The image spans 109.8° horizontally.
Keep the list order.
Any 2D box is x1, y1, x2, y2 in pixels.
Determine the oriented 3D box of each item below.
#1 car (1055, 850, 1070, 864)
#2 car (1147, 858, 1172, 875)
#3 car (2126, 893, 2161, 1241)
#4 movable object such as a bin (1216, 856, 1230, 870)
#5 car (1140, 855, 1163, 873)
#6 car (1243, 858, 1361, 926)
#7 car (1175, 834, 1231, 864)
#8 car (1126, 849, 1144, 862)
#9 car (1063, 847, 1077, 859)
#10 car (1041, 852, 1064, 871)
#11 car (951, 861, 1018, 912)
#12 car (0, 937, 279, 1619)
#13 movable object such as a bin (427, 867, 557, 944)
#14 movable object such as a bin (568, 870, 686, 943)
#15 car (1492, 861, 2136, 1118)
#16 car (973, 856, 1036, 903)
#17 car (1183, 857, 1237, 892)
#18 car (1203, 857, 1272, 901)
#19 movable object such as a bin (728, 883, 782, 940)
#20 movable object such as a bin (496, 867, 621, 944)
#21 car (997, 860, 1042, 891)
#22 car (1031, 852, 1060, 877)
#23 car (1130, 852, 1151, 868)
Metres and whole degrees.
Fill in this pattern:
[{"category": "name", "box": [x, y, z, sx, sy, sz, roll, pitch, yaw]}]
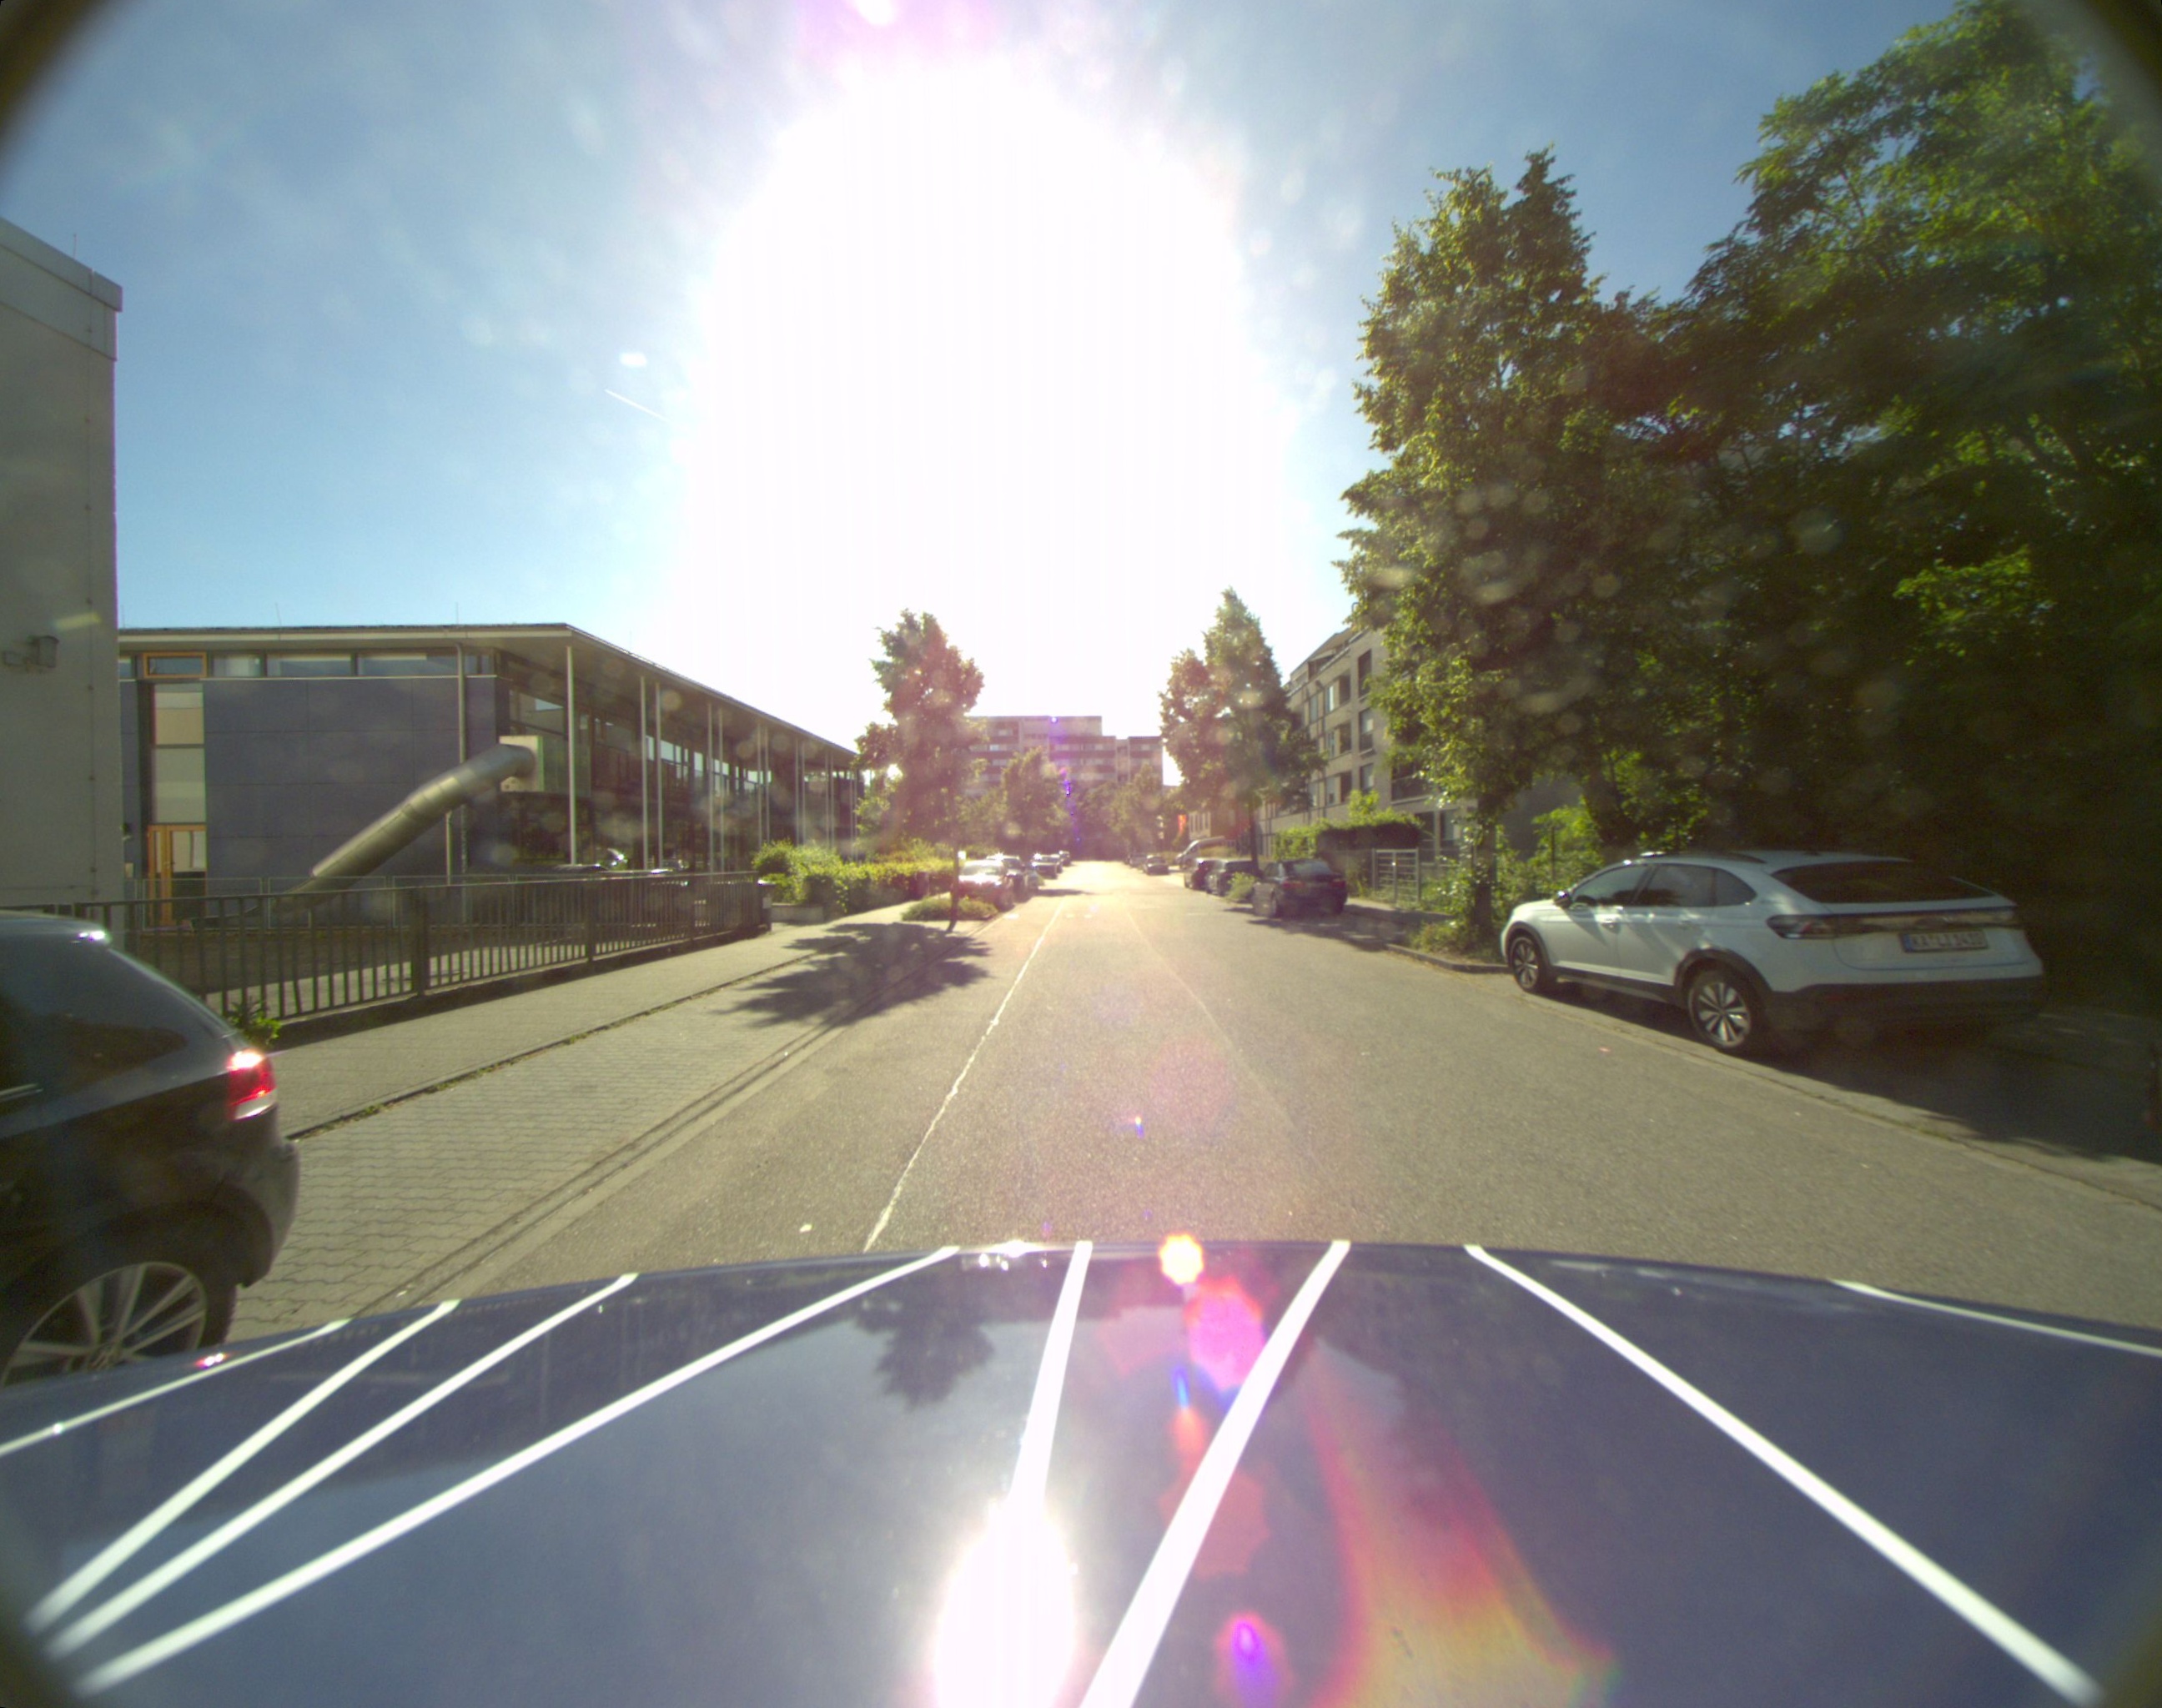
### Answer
[{"category": "car", "box": [-2.142, 0.329, 89.284, 1.644, 1.458, 3.702, 2, 2, 0]}, {"category": "car", "box": [6.093, 0.972, 59.468, 1.631, 1.240, 3.563, -2, 0, 1]}, {"category": "car", "box": [5.449, 0.876, 1.546, 1.722, 1.465, 3.545, -3, 0, -1]}, {"category": "movable object such as a bin", "box": [10.663, 0.685, 56.969, 0.862, 1.032, 0.677, -4, 1, -2]}, {"category": "car", "box": [6.051, 0.838, 65.383, 1.631, 1.515, 3.562, 0, 0, 0]}, {"category": "car", "box": [5.710, 0.922, 20.222, 1.845, 1.465, 4.359, -3, 0, 1]}, {"category": "car", "box": [12.140, -0.467, 75.826, 5.153, 2.886, 2.013, -1, 1, -3]}, {"category": "car", "box": [6.681, 0.154, 93.742, 1.795, 1.509, 3.889, -2, 1, -2]}, {"category": "car", "box": [-1.412, -0.187, 100.550, 1.644, 1.458, 3.702, 2, 2, 0]}, {"category": "car", "box": [-2.461, 0.627, 66.702, 1.823, 1.458, 3.841, 2, 2, 0]}, {"category": "car", "box": [-3.031, 0.982, 24.544, 1.679, 1.495, 3.846, 0, 0, 0]}, {"category": "car", "box": [-3.373, 1.012, 0.344, 1.788, 1.507, 4.000, 0, 0, -1]}, {"category": "movable object such as a bin", "box": [-11.961, 1.011, 15.521, 1.333, 1.440, 1.631, -1, 0, 1]}, {"category": "movable object such as a bin", "box": [-9.137, 1.035, 15.400, 1.369, 1.350, 1.631, -1, 0, 1]}, {"category": "car", "box": [5.676, 0.867, 6.758, 1.845, 1.465, 4.002, -3, 0, 1]}, {"category": "car", "box": [-2.935, 0.933, 30.070, 1.905, 1.673, 4.411, 1, 1, 1]}, {"category": "car", "box": [6.036, 0.926, 35.967, 1.845, 1.465, 4.099, -3, 0, 1]}, {"category": "car", "box": [6.033, 0.908, 29.732, 1.845, 1.465, 4.027, -3, 0, 1]}, {"category": "movable object such as a bin", "box": [-6.591, 1.144, 15.411, 0.633, 1.064, 0.979, -1, 1, 0]}, {"category": "movable object such as a bin", "box": [-10.568, 1.007, 15.474, 1.369, 1.440, 1.631, -1, 0, 1]}, {"category": "car", "box": [-2.911, 0.988, 36.973, 1.968, 1.312, 4.774, 1, 0, -3]}, {"category": "car", "box": [-2.547, 0.714, 55.447, 1.823, 1.638, 4.488, 2, 0, 0]}, {"category": "car", "box": [6.629, 0.650, 84.853, 1.795, 1.590, 3.889, -2, 1, -2]}]
